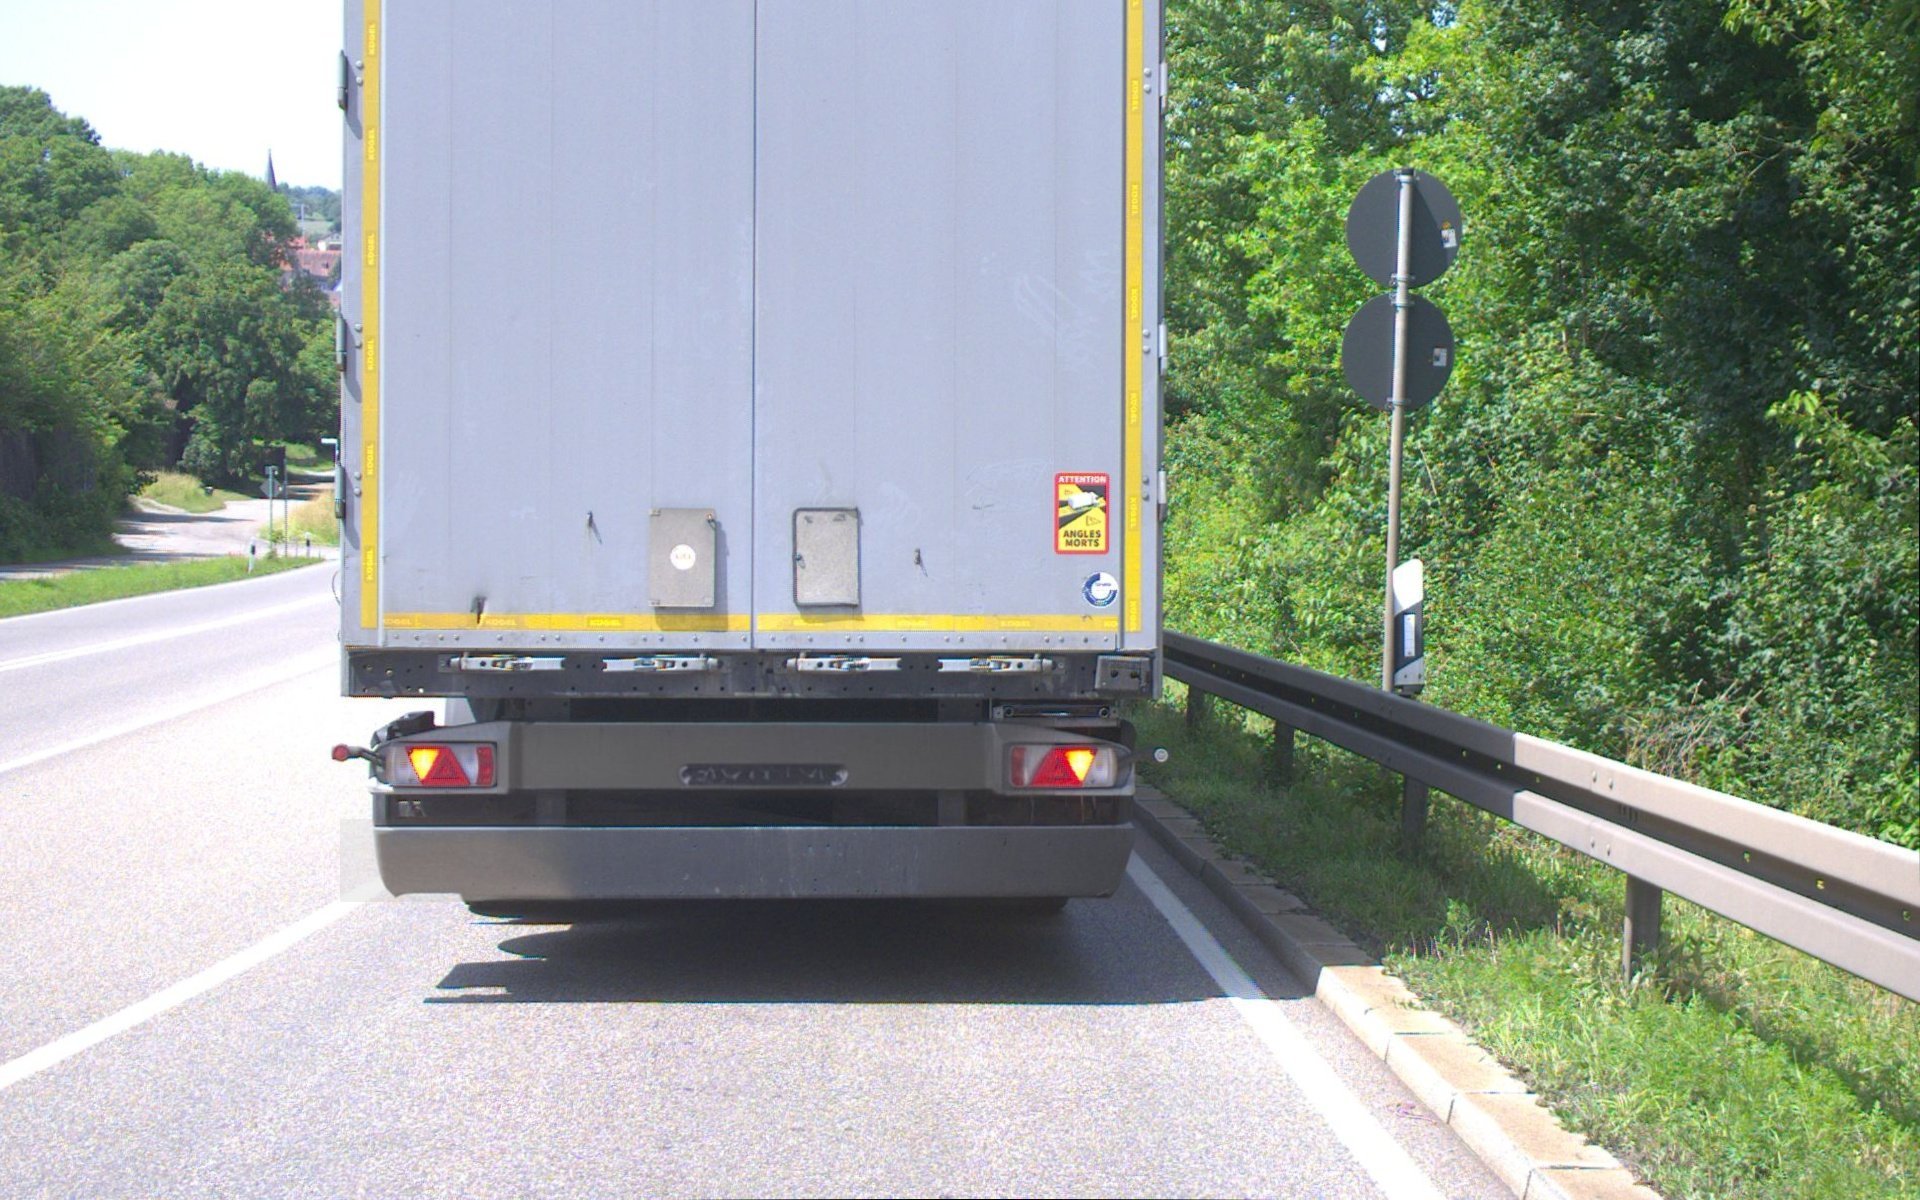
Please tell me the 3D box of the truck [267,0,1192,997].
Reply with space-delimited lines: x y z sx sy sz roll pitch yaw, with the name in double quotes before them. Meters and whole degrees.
"truck" -0.848 -0.957 16.285 2.757 4.016 11.925 0 1 -2
